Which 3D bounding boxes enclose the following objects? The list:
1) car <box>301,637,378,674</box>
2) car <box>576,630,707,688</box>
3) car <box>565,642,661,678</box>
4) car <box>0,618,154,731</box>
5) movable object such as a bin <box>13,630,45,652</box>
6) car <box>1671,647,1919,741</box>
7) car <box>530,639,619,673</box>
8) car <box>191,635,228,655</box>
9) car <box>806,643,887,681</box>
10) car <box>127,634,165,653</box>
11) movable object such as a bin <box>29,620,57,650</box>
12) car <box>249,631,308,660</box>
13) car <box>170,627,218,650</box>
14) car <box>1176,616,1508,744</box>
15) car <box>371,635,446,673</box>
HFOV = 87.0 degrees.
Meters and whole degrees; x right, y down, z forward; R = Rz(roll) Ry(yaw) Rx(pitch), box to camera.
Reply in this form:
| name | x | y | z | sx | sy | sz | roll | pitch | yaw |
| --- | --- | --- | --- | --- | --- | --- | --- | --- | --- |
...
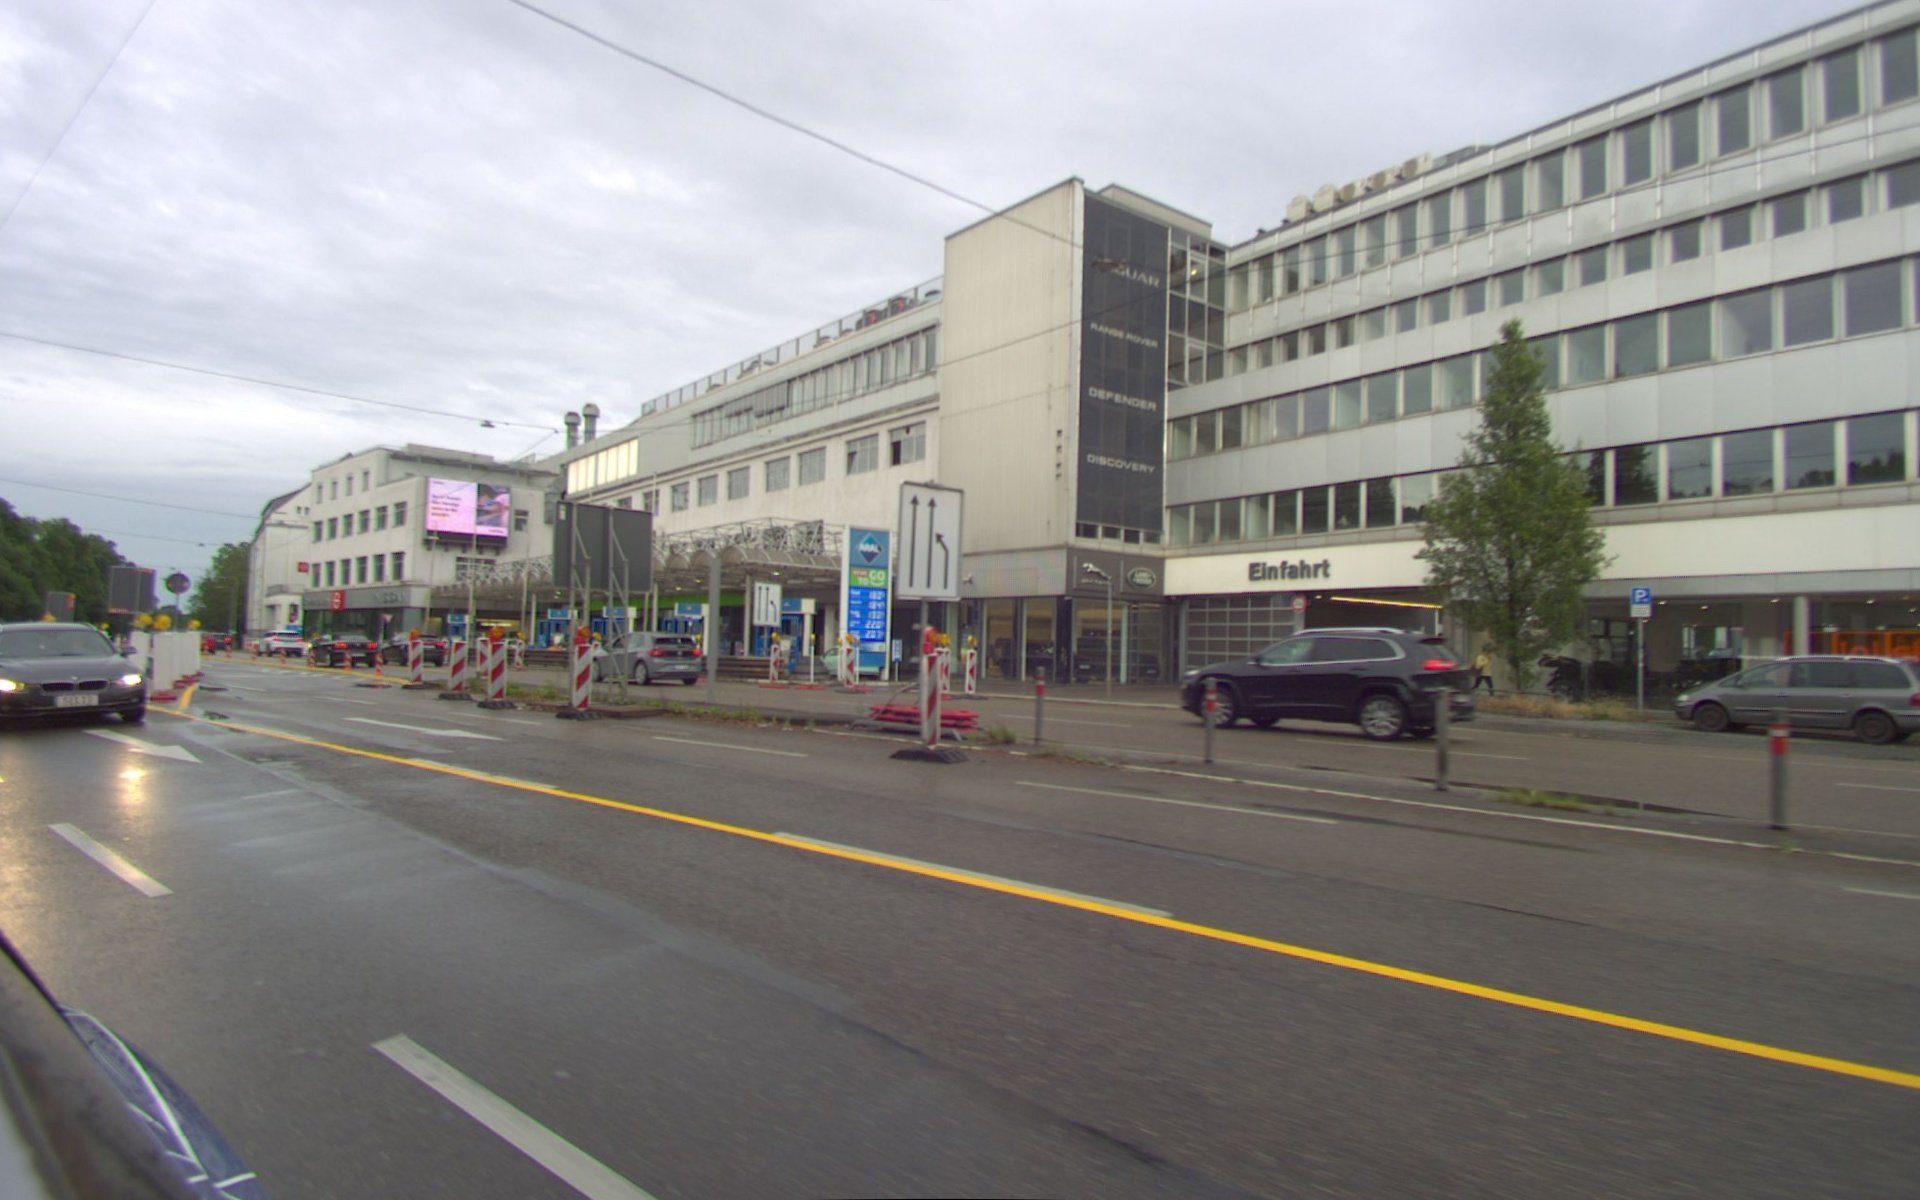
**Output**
| name | x | y | z | sx | sy | sz | roll | pitch | yaw |
| --- | --- | --- | --- | --- | --- | --- | --- | --- | --- |
| car | -25.361 | 2.244 | 41.325 | 4.116 | 1.365 | 1.670 | -1 | -5 | 44 |
| car | -9.471 | 1.715 | 29.949 | 4.301 | 1.570 | 1.788 | -1 | -4 | 43 |
| car | -18.509 | 3.213 | 54.129 | 4.411 | 1.692 | 2.016 | 3 | -4 | -6 |
| car | -13.676 | 1.026 | 14.943 | 4.170 | 1.461 | 1.743 | -1 | -3 | 37 |
| movable object such as a bin | -93.809 | 4.143 | 102.042 | 1.968 | 2.128 | 3.856 | 5 | -6 | -38 |
| car | 18.249 | 1.949 | 21.562 | 1.824 | 1.792 | 4.741 | 5 | -5 | -35 |
| car | -22.435 | 3.287 | 59.066 | 4.378 | 1.784 | 1.970 | 3 | -4 | -6 |
| car | -62.963 | 3.787 | 84.848 | 4.078 | 1.548 | 1.691 | -2 | -5 | 43 |
| car | -4.977 | 2.692 | 44.105 | 1.632 | 1.547 | 3.761 | 5 | -5 | -40 |
| car | -69.902 | 3.735 | 86.855 | 4.300 | 1.533 | 1.937 | -2 | -5 | 44 |
| movable object such as a bin | -96.872 | 3.720 | 106.951 | 1.799 | 2.935 | 3.614 | 6 | -6 | -38 |
| car | -42.708 | 2.828 | 63.345 | 4.831 | 1.720 | 1.958 | -1 | -4 | 43 |
| car | -49.180 | 2.443 | 64.964 | 4.289 | 1.415 | 1.716 | -1 | -3 | 43 |
| car | 5.936 | 1.183 | 16.103 | 4.604 | 1.751 | 1.825 | -1 | -4 | 43 |
| car | -24.886 | 2.422 | 45.631 | 4.000 | 1.525 | 1.732 | -1 | -4 | 43 |
